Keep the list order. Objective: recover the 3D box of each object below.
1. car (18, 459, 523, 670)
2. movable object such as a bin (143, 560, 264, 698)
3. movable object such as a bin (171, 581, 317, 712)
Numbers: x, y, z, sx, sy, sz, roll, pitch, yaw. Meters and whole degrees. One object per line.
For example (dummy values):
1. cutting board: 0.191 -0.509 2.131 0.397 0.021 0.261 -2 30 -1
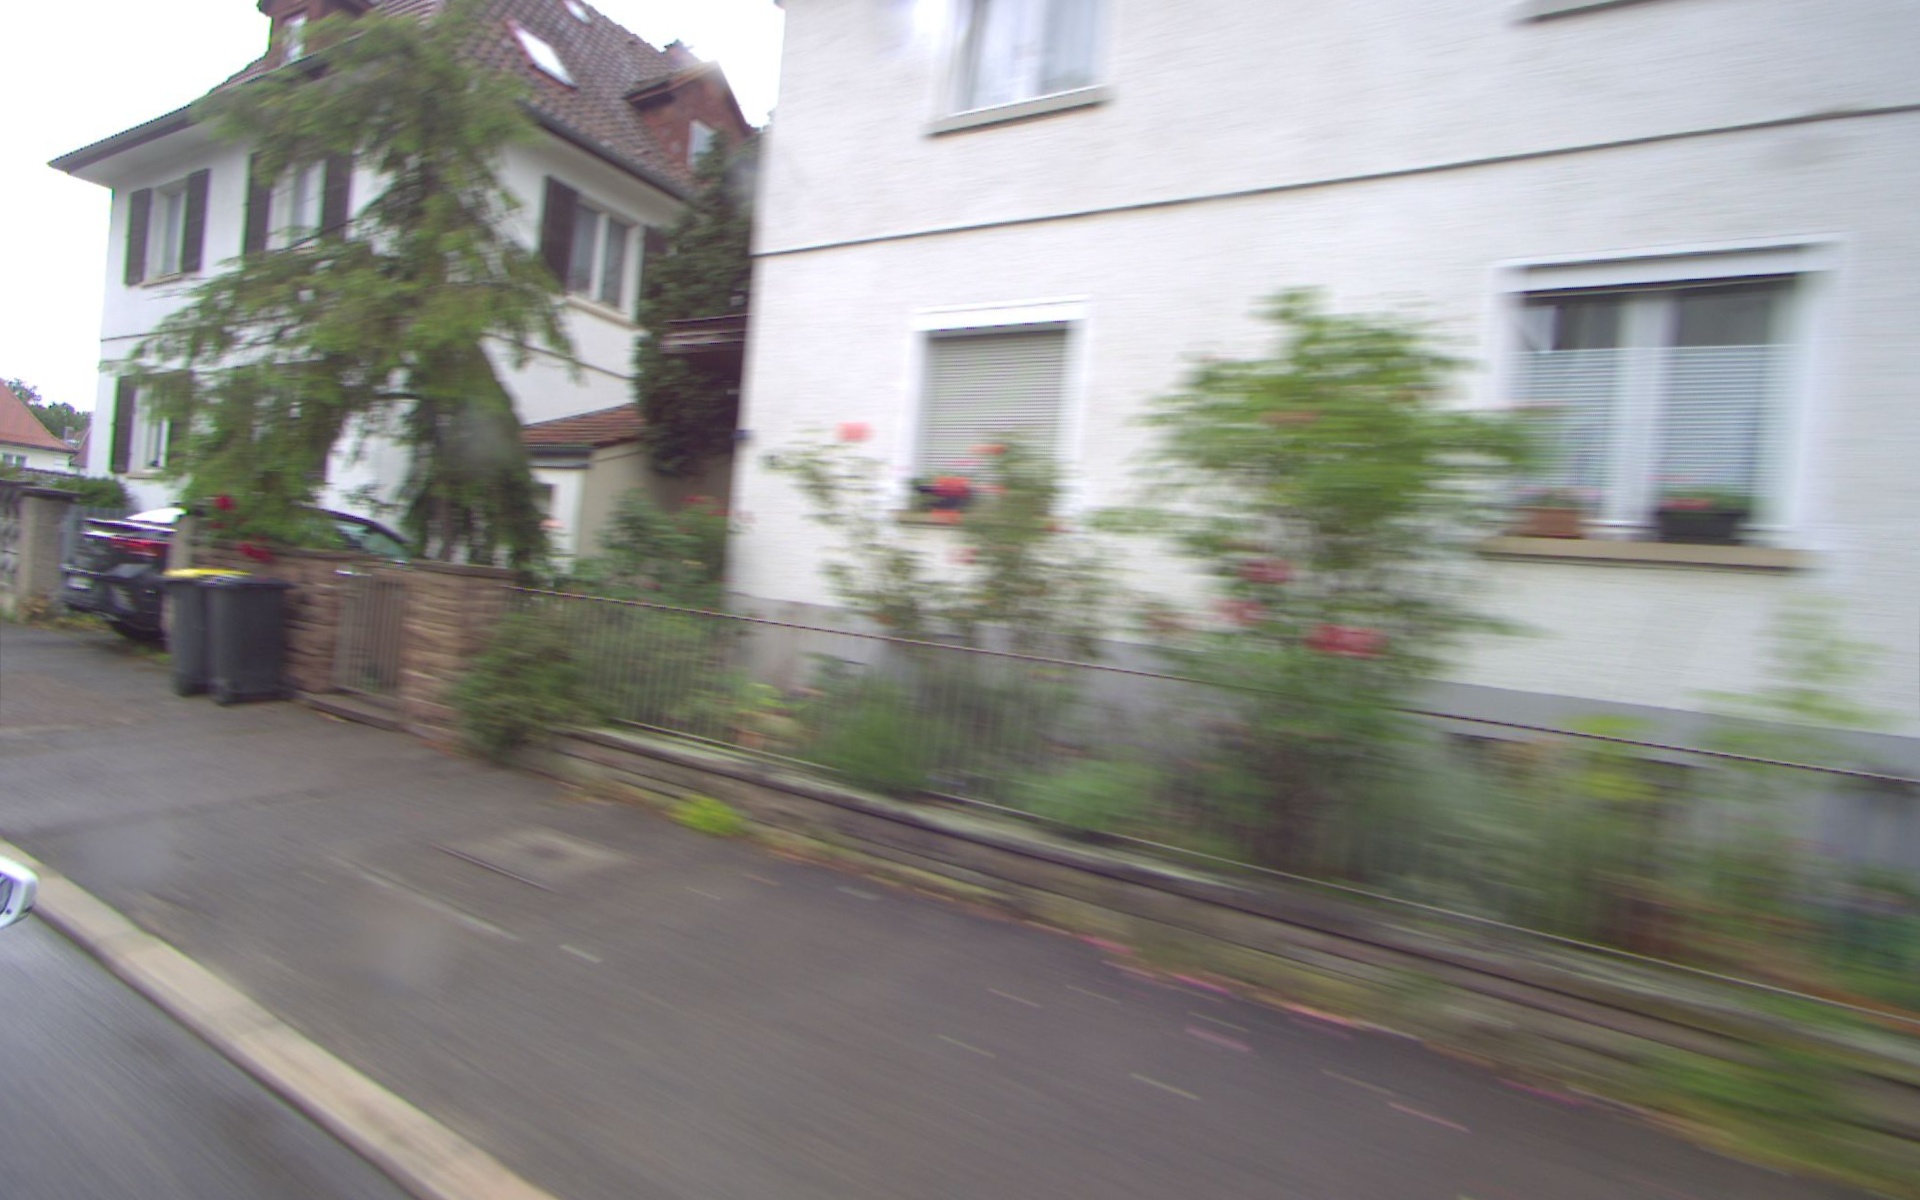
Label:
1. car: -7.203 -0.256 10.945 1.886 1.659 3.993 8 0 31
2. movable object such as a bin: -5.786 0.225 7.698 0.494 0.967 0.495 8 1 30
3. movable object such as a bin: -5.264 0.351 7.409 0.494 0.866 0.652 8 0 30
